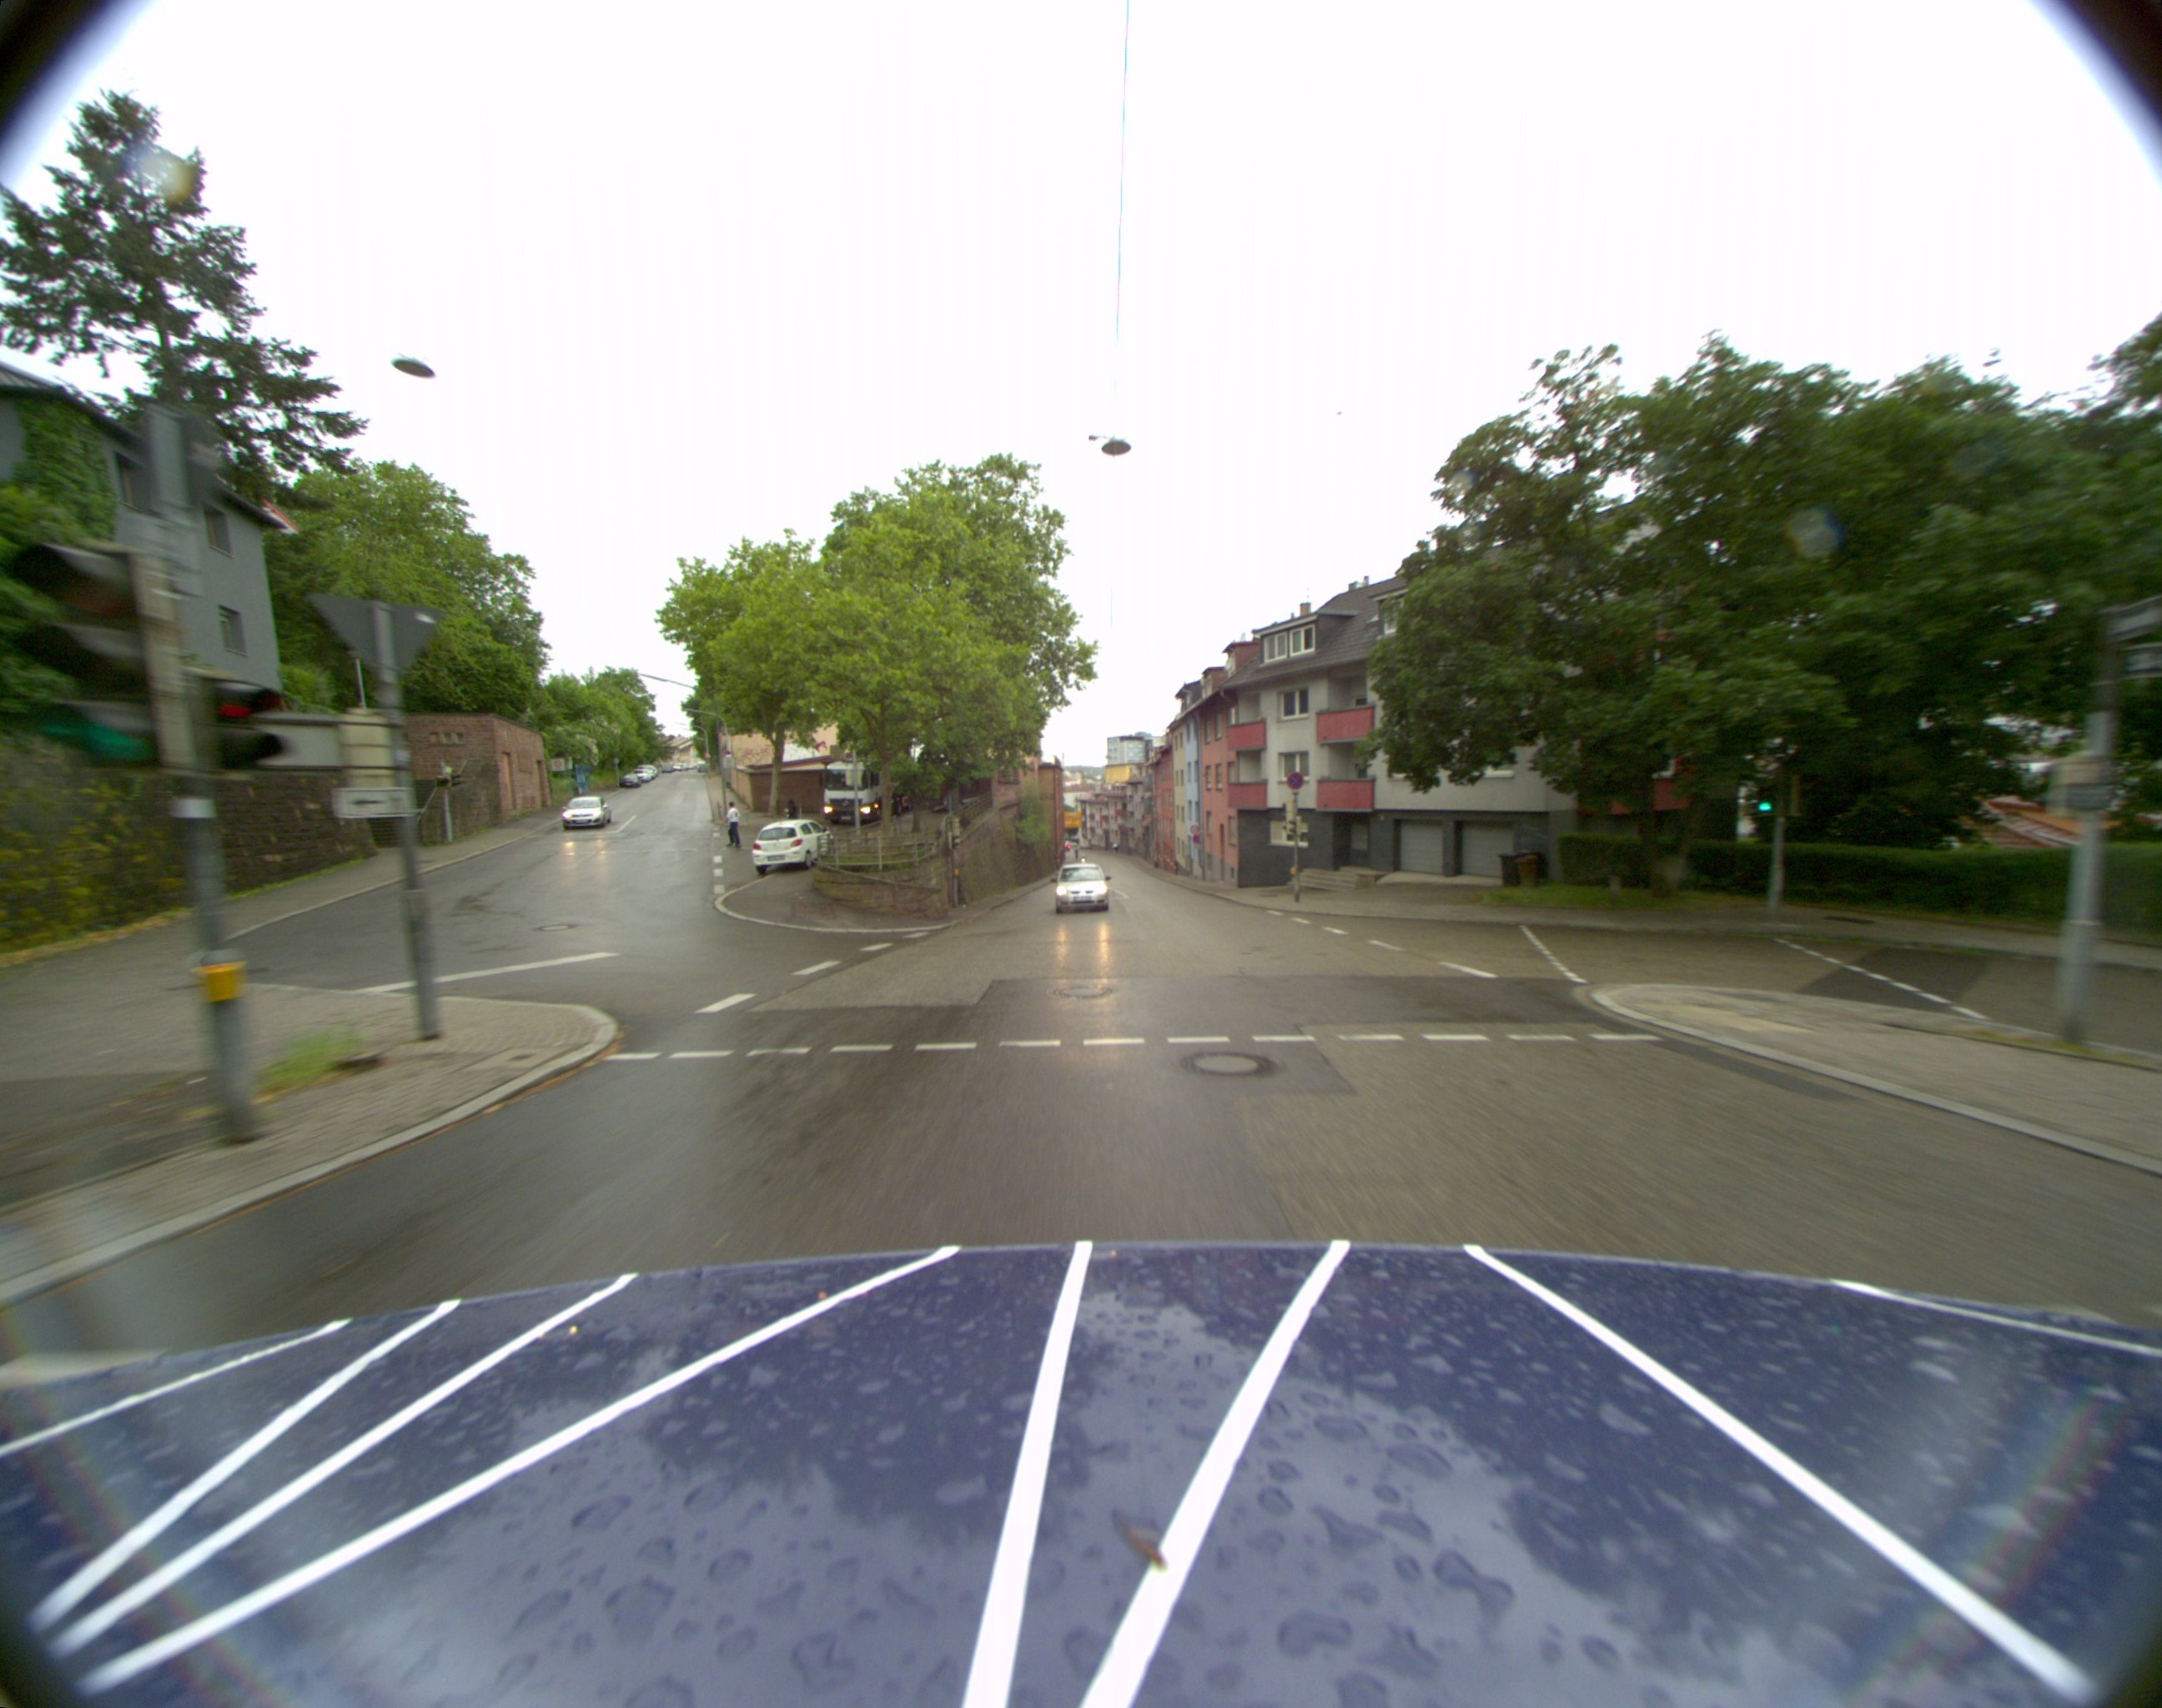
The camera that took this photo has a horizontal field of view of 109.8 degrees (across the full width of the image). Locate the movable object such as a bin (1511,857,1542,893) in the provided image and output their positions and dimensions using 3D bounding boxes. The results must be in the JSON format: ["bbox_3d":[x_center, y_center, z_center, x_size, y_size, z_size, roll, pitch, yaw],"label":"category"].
[{"bbox_3d":[13.189,0.617,22.501,0.630,1.010,0.499,-4,2,-24],"label":"movable object such as a bin"}]

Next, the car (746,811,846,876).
[{"bbox_3d":[-9.277,-0.434,25.123,1.635,1.486,4.340,-3,8,-1],"label":"car"}]

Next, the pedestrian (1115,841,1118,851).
[{"bbox_3d":[6.656,-1.468,140.974,0.387,1.770,0.499,-4,2,-8],"label":"pedestrian"}]

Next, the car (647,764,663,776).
[{"bbox_3d":[-66.036,-13.042,117.895,1.736,1.633,3.986,-5,11,-25],"label":"car"}]

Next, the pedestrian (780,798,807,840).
[{"bbox_3d":[-11.631,-1.415,30.745,0.780,1.668,0.871,-2,3,-39],"label":"pedestrian"}]

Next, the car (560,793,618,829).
[{"bbox_3d":[-24.757,-2.206,38.384,1.827,1.512,3.987,-4,8,-25],"label":"car"}]

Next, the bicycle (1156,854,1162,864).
[{"bbox_3d":[9.136,0.598,89.015,0.572,1.110,2.039,-4,1,2],"label":"bicycle"}]

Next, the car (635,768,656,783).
[{"bbox_3d":[-54.040,-9.735,94.314,1.736,1.633,3.986,-5,11,-25],"label":"car"}]

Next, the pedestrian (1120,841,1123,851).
[{"bbox_3d":[7.537,-1.519,141.063,0.355,1.770,0.499,-4,2,-8],"label":"pedestrian"}]

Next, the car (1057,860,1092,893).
[{"bbox_3d":[-0.321,1.260,43.617,1.719,1.527,3.999,-3,2,2],"label":"car"}]

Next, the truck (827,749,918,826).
[{"bbox_3d":[-11.053,-3.895,41.586,2.755,3.296,11.204,0,10,-5],"label":"truck"}]

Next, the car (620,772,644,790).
[{"bbox_3d":[-48.013,-7.840,81.316,1.736,1.633,3.986,-5,11,-25],"label":"car"}]

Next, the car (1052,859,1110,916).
[{"bbox_3d":[0.034,1.047,25.390,1.720,1.527,3.999,-3,2,1],"label":"car"}]

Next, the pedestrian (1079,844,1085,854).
[{"bbox_3d":[0.096,-0.788,123.572,0.871,1.532,1.087,-3,-1,-1],"label":"pedestrian"}]

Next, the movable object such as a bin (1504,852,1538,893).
[{"bbox_3d":[13.534,0.551,23.378,0.562,1.193,0.687,-4,2,-24],"label":"movable object such as a bin"}]

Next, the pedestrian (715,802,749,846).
[{"bbox_3d":[-13.294,-1.148,28.935,0.873,1.668,0.779,0,2,4],"label":"pedestrian"}]

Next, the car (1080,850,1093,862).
[{"bbox_3d":[0.746,0.245,100.532,1.637,1.521,4.000,-3,0,1],"label":"car"}]

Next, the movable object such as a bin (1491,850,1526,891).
[{"bbox_3d":[13.005,0.501,23.112,0.562,1.193,0.687,-4,2,-24],"label":"movable object such as a bin"}]

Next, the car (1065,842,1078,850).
[{"bbox_3d":[-2.175,-1.733,165.367,2.001,1.470,3.994,0,2,-14],"label":"car"}]
